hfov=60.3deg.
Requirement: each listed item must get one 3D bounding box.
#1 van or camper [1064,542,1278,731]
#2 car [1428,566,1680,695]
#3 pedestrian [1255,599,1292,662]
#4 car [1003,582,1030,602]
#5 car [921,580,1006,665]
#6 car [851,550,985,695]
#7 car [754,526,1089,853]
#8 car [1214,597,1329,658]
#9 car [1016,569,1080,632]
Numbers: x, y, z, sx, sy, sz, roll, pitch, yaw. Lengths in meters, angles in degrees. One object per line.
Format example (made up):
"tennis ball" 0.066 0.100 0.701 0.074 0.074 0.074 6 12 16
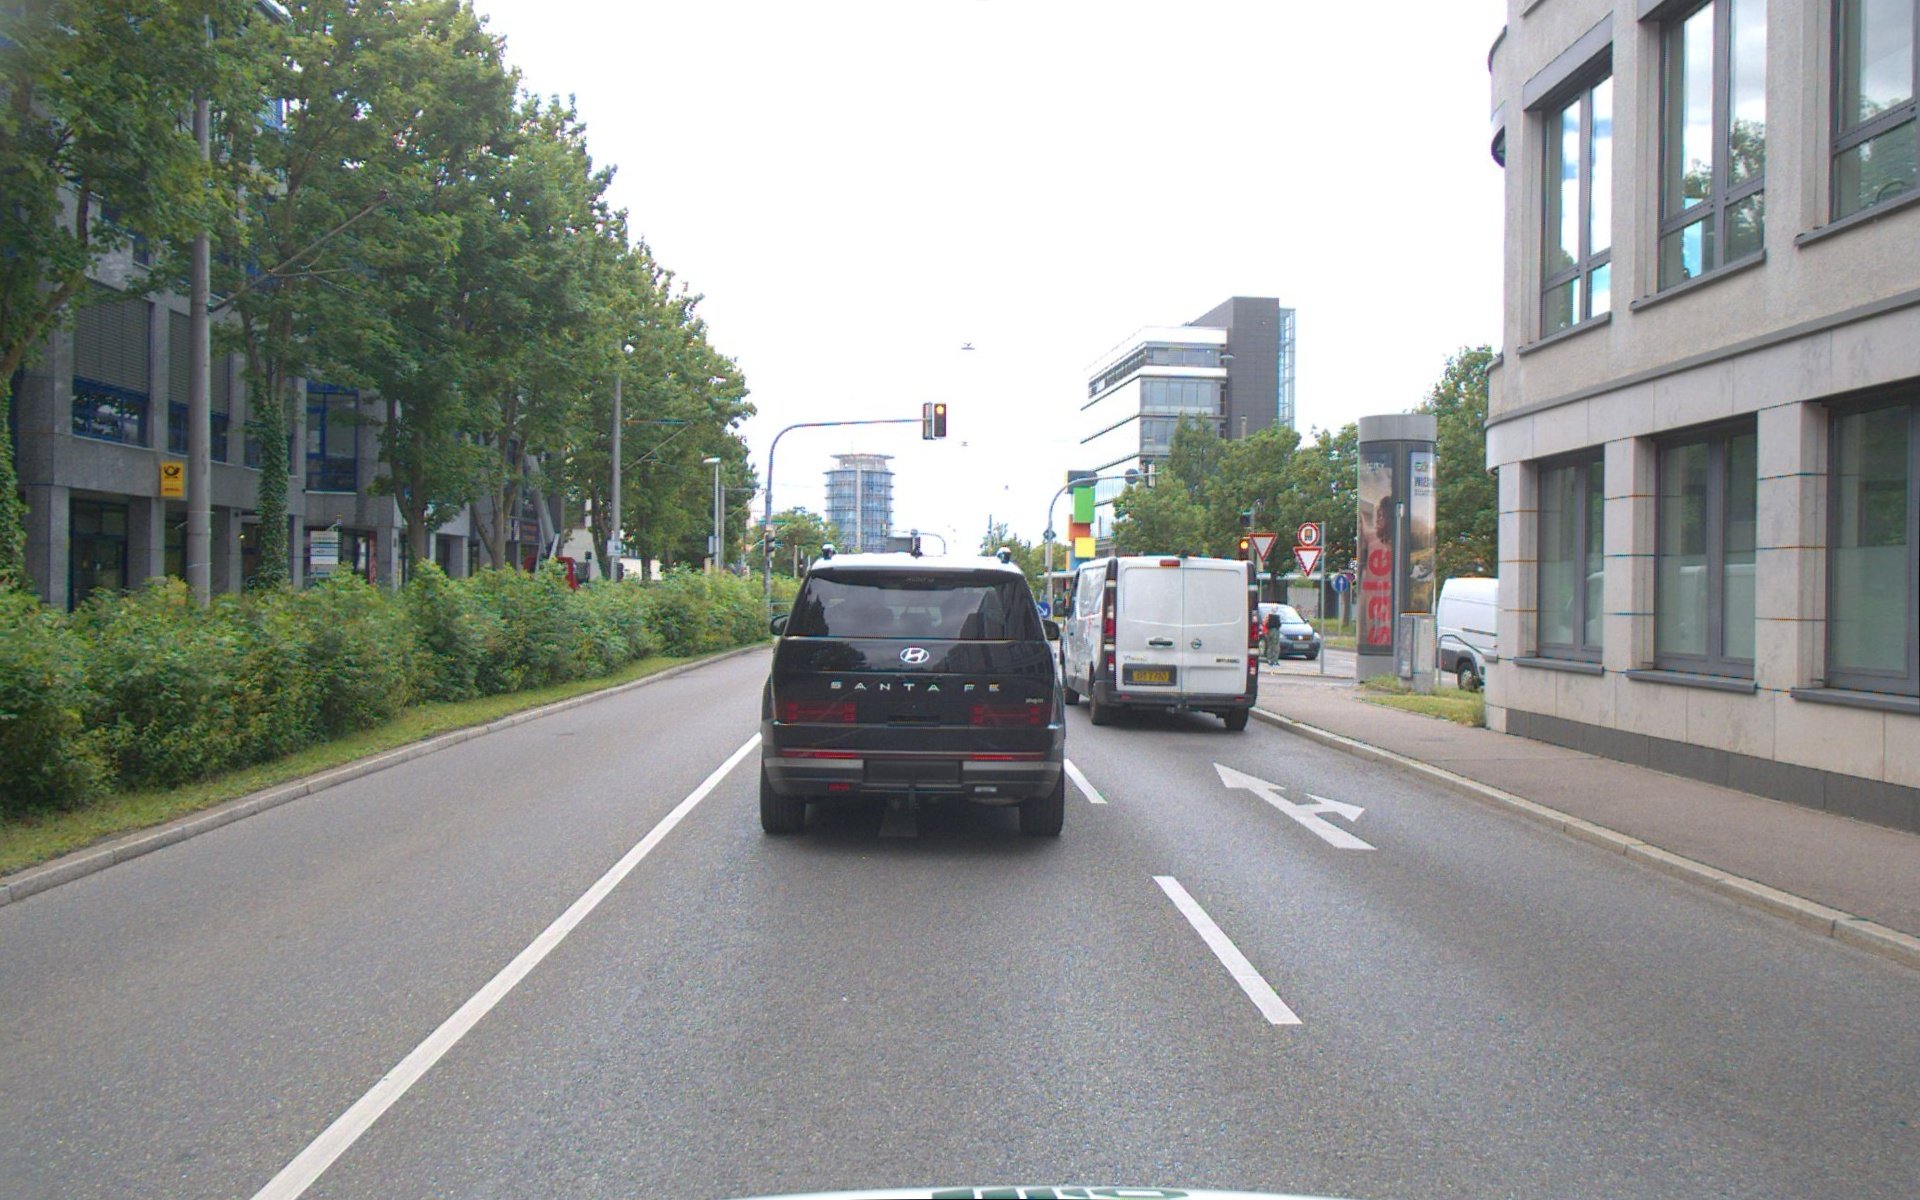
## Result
"van or camper" 2.475 0.389 20.583 1.953 2.049 4.651 1 0 -1
"car" 13.037 0.638 36.813 2.261 2.618 5.809 1 0 -17
"pedestrian" 8.183 0.793 43.222 0.733 1.612 0.565 2 0 -41
"car" 5.064 -0.739 148.600 1.954 1.713 3.997 1 0 -4
"car" 0.082 0.479 36.608 1.739 1.747 4.338 1 0 0
"car" -0.640 0.315 25.276 1.876 2.038 3.879 0 0 -1
"car" -0.251 0.486 11.037 1.831 1.791 3.879 0 0 -1
"car" 9.193 0.787 49.121 1.674 1.713 3.767 1 0 -20
"car" 2.997 0.021 57.035 1.953 2.049 3.999 1 0 0
